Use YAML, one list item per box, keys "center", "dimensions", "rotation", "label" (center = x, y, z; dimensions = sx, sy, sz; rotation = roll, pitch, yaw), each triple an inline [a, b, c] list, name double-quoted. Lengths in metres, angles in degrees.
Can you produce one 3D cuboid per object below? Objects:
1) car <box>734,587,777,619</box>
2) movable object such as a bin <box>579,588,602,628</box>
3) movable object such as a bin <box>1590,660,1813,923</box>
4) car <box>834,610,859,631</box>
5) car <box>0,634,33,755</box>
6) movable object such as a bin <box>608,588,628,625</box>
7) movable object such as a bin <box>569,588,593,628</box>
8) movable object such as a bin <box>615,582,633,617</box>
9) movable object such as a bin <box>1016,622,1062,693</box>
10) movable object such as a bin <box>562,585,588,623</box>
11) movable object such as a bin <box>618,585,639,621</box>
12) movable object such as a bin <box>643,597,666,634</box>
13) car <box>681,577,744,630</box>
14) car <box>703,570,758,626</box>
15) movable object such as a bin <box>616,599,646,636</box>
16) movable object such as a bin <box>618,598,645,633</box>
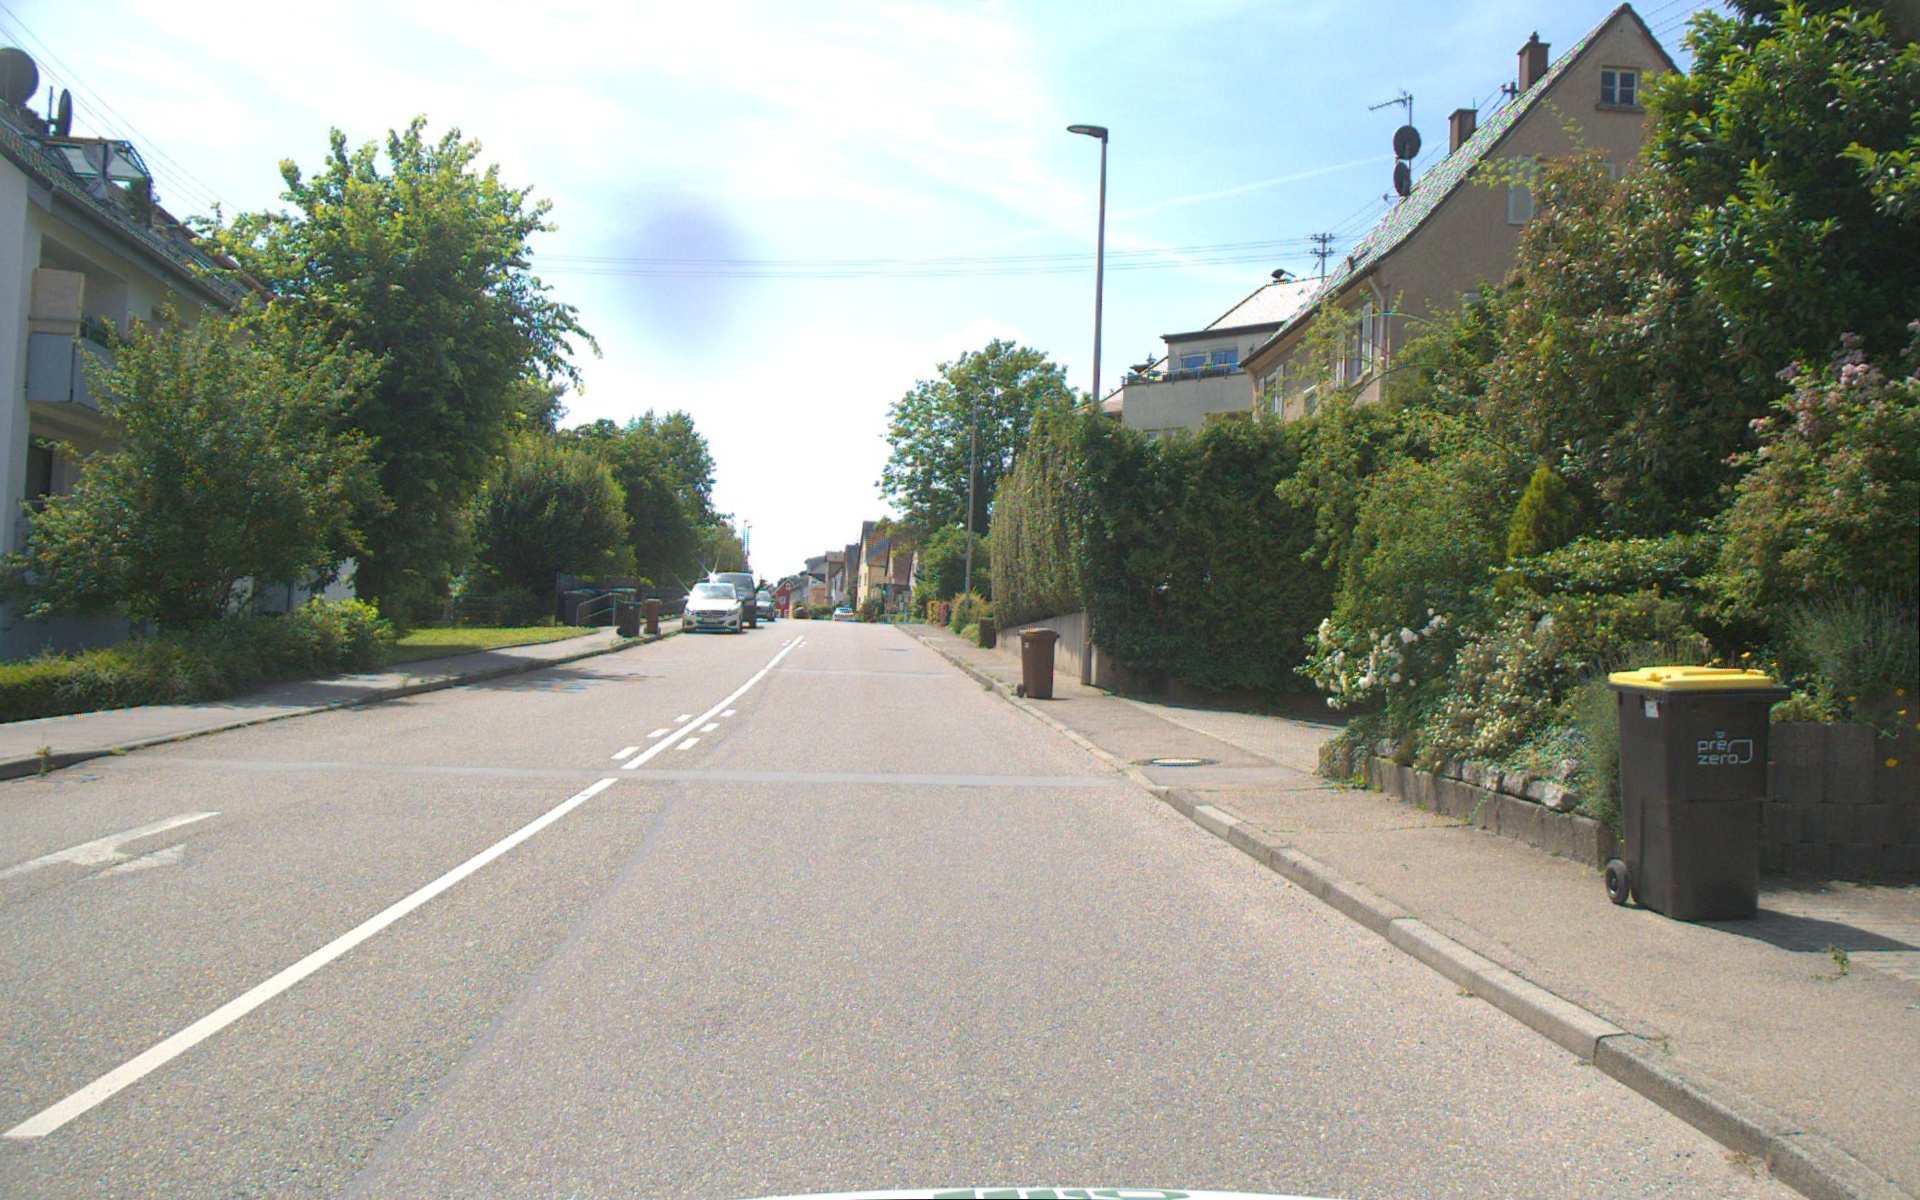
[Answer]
- center: [-9.581, 0.166, 77.752]
  dimensions: [1.745, 1.419, 4.405]
  rotation: [1, -1, -4]
  label: "car"
- center: [-11.433, 0.240, 51.209]
  dimensions: [0.466, 1.198, 0.840]
  rotation: [1, 0, 1]
  label: "movable object such as a bin"
- center: [3.337, 0.834, 7.512]
  dimensions: [0.576, 1.077, 0.919]
  rotation: [1, 0, -2]
  label: "movable object such as a bin"
- center: [-9.196, 1.650, 133.531]
  dimensions: [1.955, 1.631, 3.995]
  rotation: [0, 0, -5]
  label: "car"
- center: [-13.082, 1.197, 20.807]
  dimensions: [1.444, 1.567, 3.225]
  rotation: [1, -2, -10]
  label: "car"
- center: [-10.551, 0.208, 51.020]
  dimensions: [0.506, 1.123, 0.529]
  rotation: [1, 0, -5]
  label: "movable object such as a bin"
- center: [-11.537, 0.229, 50.395]
  dimensions: [0.535, 1.198, 0.674]
  rotation: [1, 0, 1]
  label: "movable object such as a bin"
- center: [-10.499, -0.011, 51.716]
  dimensions: [0.446, 1.062, 0.560]
  rotation: [0, -1, 2]
  label: "movable object such as a bin"
- center: [1.142, 0.831, 24.021]
  dimensions: [0.577, 0.995, 0.785]
  rotation: [0, 0, -4]
  label: "movable object such as a bin"
- center: [-11.537, 0.115, 49.526]
  dimensions: [0.590, 1.115, 0.650]
  rotation: [1, 0, 2]
  label: "movable object such as a bin"
- center: [-10.506, 0.098, 52.411]
  dimensions: [0.486, 1.124, 0.710]
  rotation: [0, -1, 2]
  label: "movable object such as a bin"
- center: [-8.433, 0.428, 45.668]
  dimensions: [0.496, 1.005, 0.563]
  rotation: [1, 0, 2]
  label: "movable object such as a bin"
- center: [-7.942, 0.088, 53.401]
  dimensions: [1.776, 1.576, 4.237]
  rotation: [2, 0, -6]
  label: "car"
- center: [-8.399, -0.081, 60.794]
  dimensions: [1.860, 1.954, 4.863]
  rotation: [0, 0, -7]
  label: "car"
- center: [-8.538, 0.451, 42.977]
  dimensions: [0.606, 0.933, 0.686]
  rotation: [1, 0, 2]
  label: "movable object such as a bin"
- center: [-8.767, 0.410, 44.135]
  dimensions: [0.551, 0.933, 0.643]
  rotation: [1, 0, 2]
  label: "movable object such as a bin"
